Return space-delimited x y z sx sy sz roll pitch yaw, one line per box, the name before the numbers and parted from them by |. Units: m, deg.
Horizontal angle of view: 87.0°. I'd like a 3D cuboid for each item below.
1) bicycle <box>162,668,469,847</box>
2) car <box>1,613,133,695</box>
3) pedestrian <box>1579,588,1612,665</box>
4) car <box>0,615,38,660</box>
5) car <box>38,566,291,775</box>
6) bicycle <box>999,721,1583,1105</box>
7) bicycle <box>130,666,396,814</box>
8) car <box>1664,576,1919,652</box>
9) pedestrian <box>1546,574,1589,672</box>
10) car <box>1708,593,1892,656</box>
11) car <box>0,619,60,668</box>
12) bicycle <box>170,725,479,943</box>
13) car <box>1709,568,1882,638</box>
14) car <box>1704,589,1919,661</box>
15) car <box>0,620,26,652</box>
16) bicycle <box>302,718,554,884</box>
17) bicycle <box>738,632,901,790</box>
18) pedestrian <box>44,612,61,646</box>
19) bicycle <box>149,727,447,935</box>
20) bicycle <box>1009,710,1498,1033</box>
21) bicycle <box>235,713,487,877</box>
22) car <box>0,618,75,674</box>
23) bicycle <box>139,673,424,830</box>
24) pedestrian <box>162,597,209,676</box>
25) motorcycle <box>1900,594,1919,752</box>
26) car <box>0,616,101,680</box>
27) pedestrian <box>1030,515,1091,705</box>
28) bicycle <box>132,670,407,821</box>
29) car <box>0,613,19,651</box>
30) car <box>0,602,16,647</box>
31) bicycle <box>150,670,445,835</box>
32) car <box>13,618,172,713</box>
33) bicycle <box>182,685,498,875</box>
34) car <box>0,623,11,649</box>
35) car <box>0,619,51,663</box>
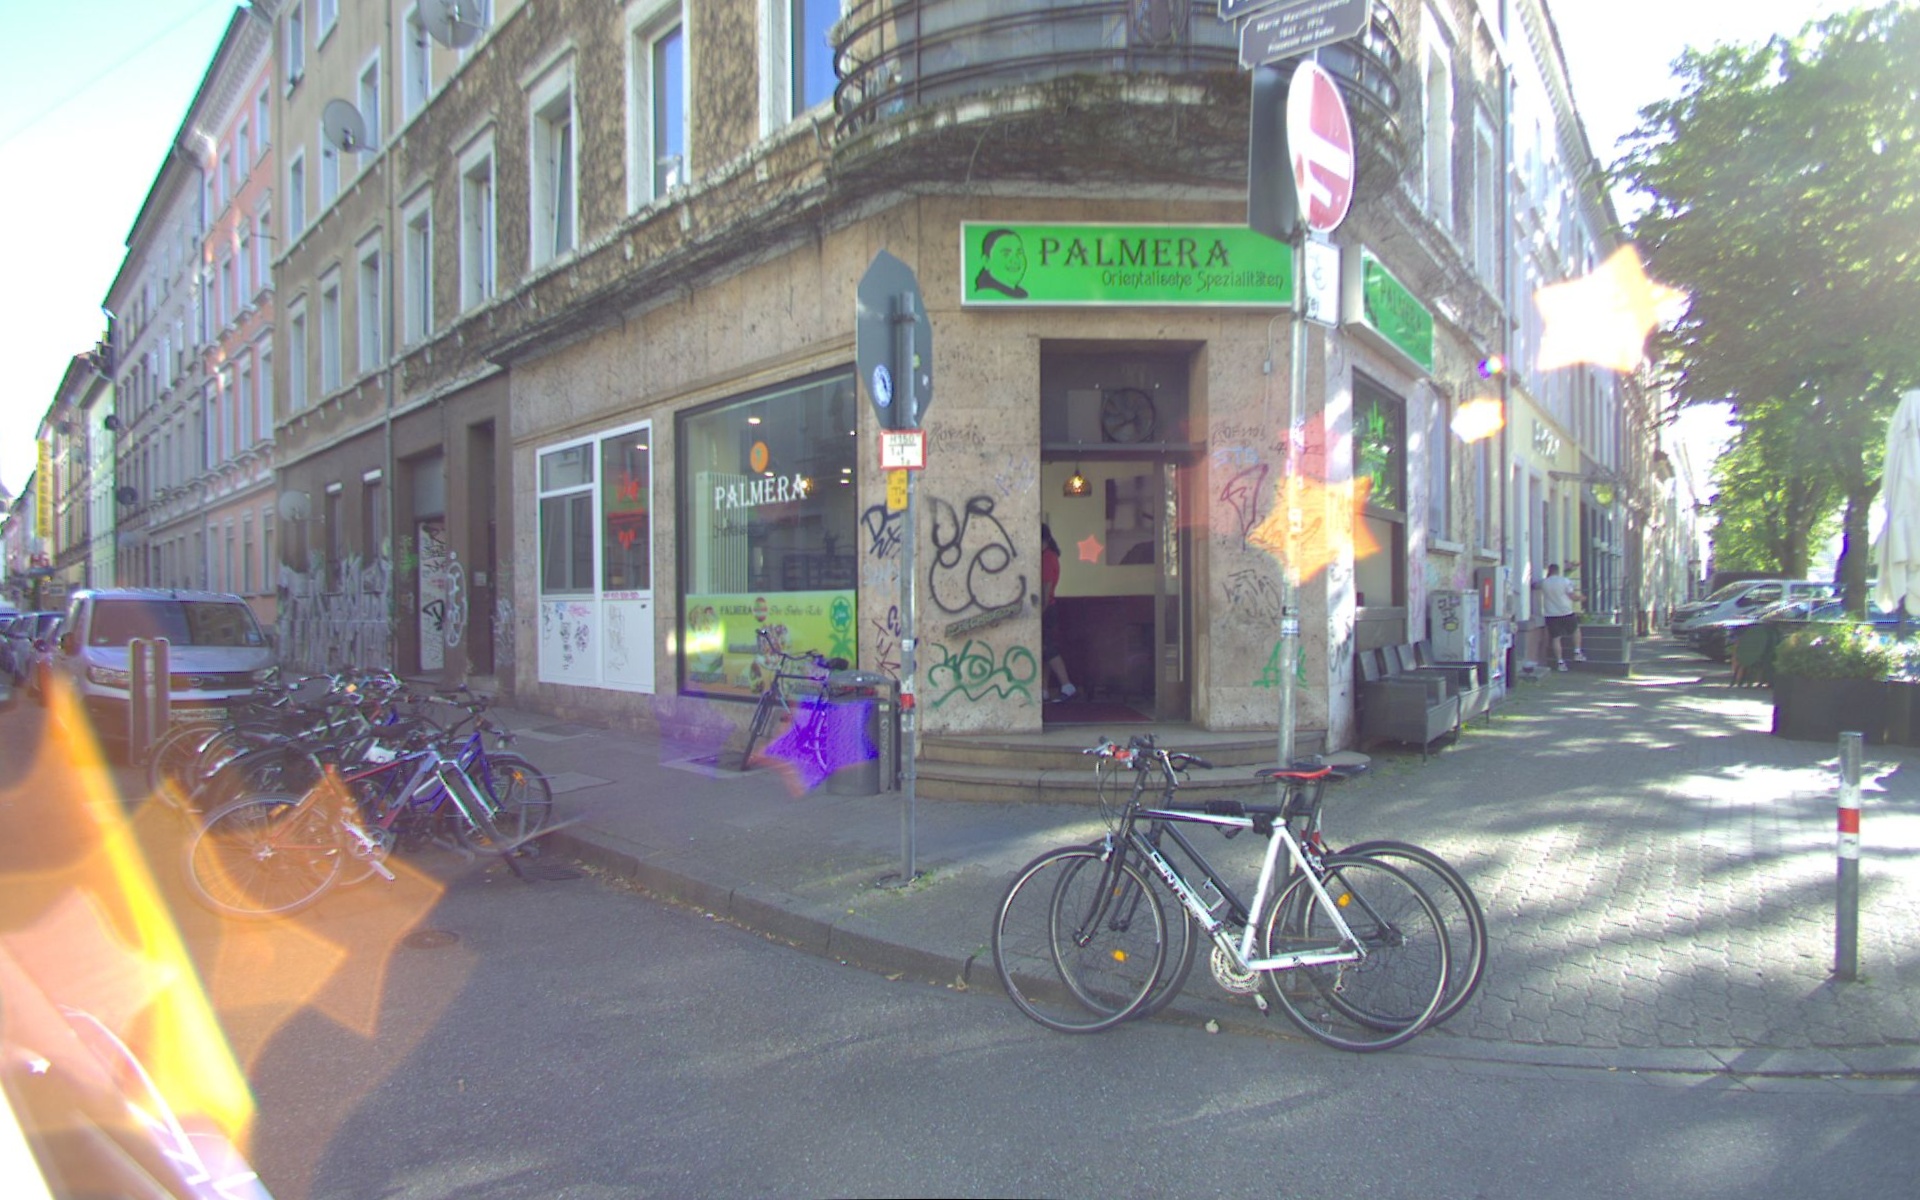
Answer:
bicycle | -4.336 1.005 6.951 0.480 0.969 1.751 -1 -1 32
car | -18.530 1.068 20.968 2.958 1.561 1.662 -1 -2 41
pedestrian | 13.902 0.569 22.143 0.538 1.655 0.563 -2 -2 35
car | -37.626 1.457 39.943 3.862 1.696 1.660 -1 -1 45
car | -9.217 0.727 11.573 4.521 1.924 1.660 -1 -4 45
bicycle | 0.990 0.980 3.276 1.666 1.053 0.458 -3 -1 4
bicycle | -5.667 1.093 8.319 0.463 0.996 1.745 -2 -1 43
car | 23.598 0.404 28.898 5.296 2.006 2.029 -1 0 14
pedestrian | 10.470 0.401 17.431 0.538 1.655 0.563 -2 -2 35
car | 22.114 0.630 26.774 3.292 1.514 1.682 -1 2 13
car | -30.344 1.383 32.841 1.658 1.474 3.865 0 -1 -41
bicycle | -3.176 1.123 5.157 0.370 0.824 1.297 -1 -1 35
car | 33.960 0.076 41.379 5.185 2.597 2.219 2 1 35
car | 19.301 0.543 22.079 4.601 1.502 1.680 -1 -1 15
car | -45.153 1.689 47.604 3.862 1.426 1.660 -1 -1 45
bicycle | -3.269 1.202 6.334 0.361 0.824 1.374 -2 -3 34
bicycle | -1.140 0.821 7.958 1.592 1.100 0.393 -1 -1 45
pedestrian | -49.293 1.575 54.969 0.617 1.844 0.595 -2 0 -44
bicycle | -3.468 1.168 5.397 0.354 0.824 1.297 -1 -1 35
bicycle | 1.017 0.967 3.744 1.643 1.054 0.450 -1 -1 5
bicycle | -3.676 1.162 6.307 0.381 0.824 1.297 -2 -3 34
car | -26.869 1.286 29.259 4.315 1.474 1.660 -1 -1 45
bicycle | -5.084 1.089 7.684 0.422 0.969 1.745 -2 -1 43
pedestrian | -18.536 0.864 24.235 0.595 1.844 0.779 -1 0 45
motorcycle | 9.435 0.653 8.282 2.393 1.361 0.998 1 -1 8
car | -23.396 1.178 25.962 3.611 1.504 1.661 -1 -1 43
pedestrian | 0.948 0.092 9.475 0.429 1.729 0.404 -1 0 27
bicycle | -5.380 1.091 7.981 0.405 0.969 1.745 -2 -1 43
car | -49.892 1.657 52.376 1.727 1.906 4.776 0 -1 -43
car | -57.933 1.467 60.363 5.844 2.611 2.065 -1 -1 44
bicycle | -4.760 1.047 7.376 0.443 0.969 1.745 -2 -1 43
car | -15.282 1.076 17.754 4.204 1.485 1.660 -1 -3 43
bicycle | -4.002 1.107 6.675 0.427 0.969 1.748 -1 -1 37
car | -53.728 1.970 55.996 3.862 1.400 1.660 -1 -1 45
car | -34.136 1.453 36.607 3.862 1.474 1.660 -1 -1 45
